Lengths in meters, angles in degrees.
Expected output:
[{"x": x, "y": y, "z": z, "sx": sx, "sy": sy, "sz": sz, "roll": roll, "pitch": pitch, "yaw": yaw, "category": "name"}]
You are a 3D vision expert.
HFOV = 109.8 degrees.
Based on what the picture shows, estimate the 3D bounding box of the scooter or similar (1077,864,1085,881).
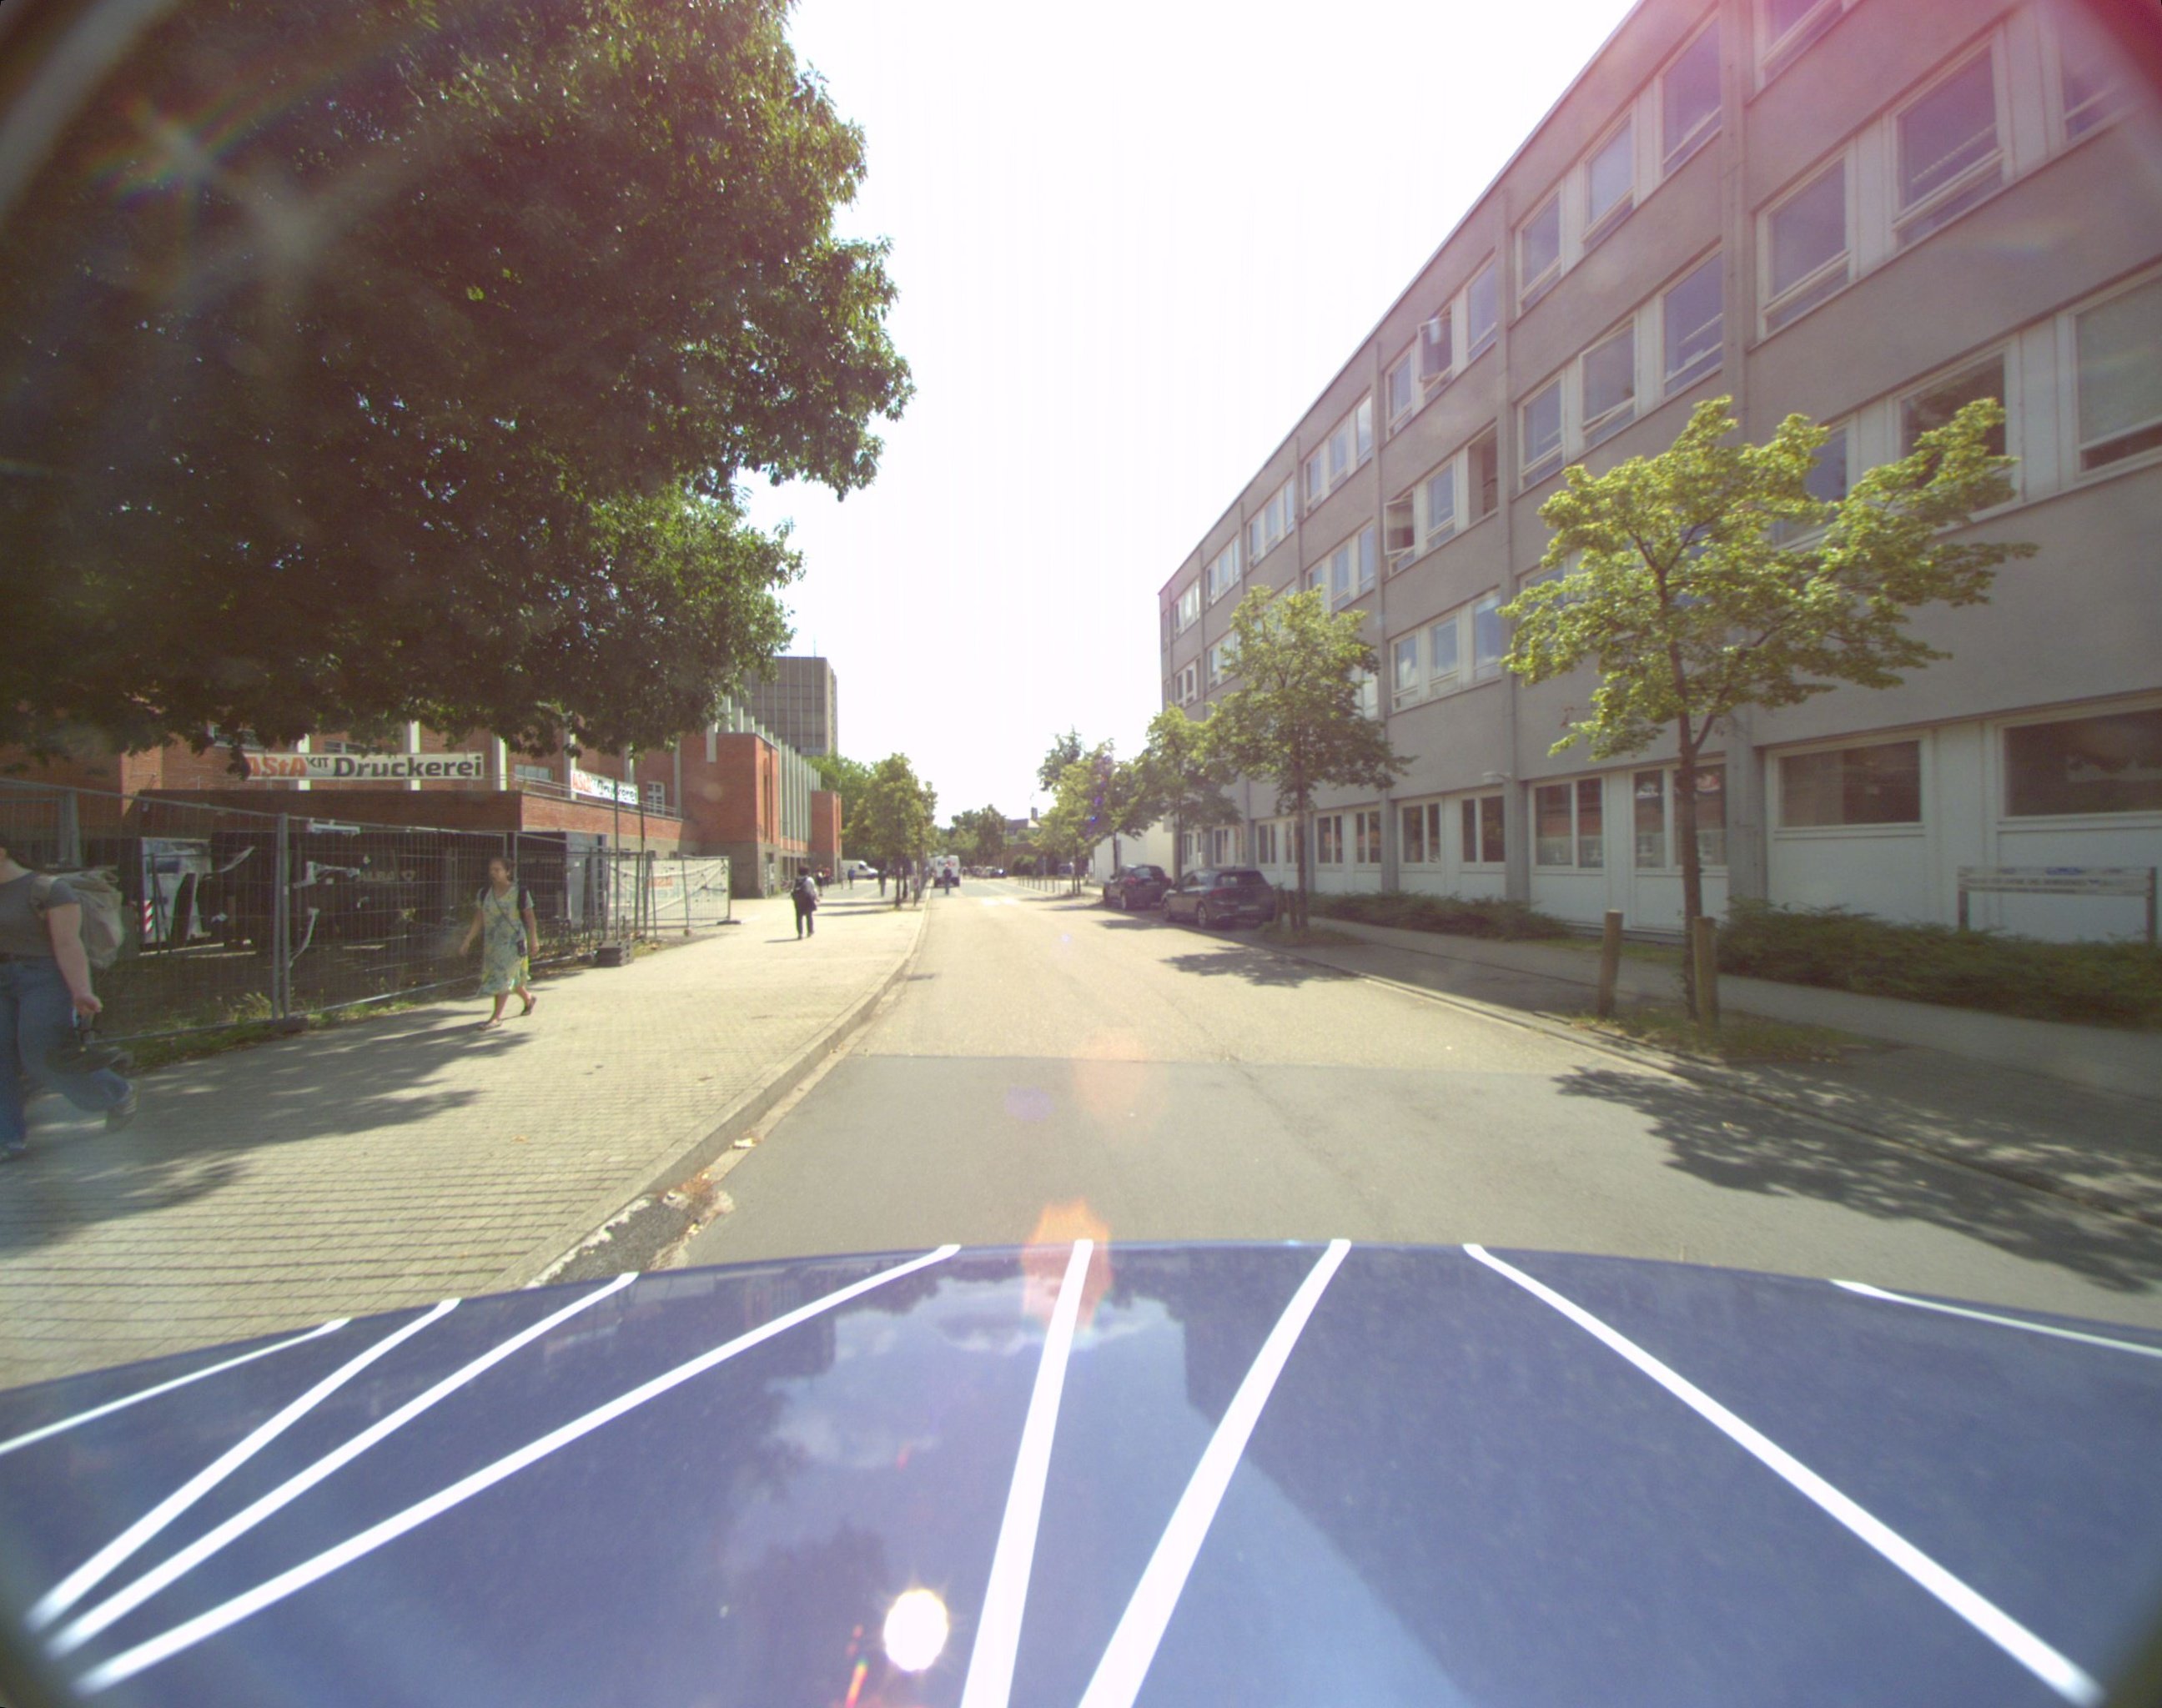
[{"x": 0.004, "y": 1.443, "z": 59.182, "sx": 0.483, "sy": 1.255, "sz": 1.313, "roll": -1, "pitch": 0, "yaw": 2, "category": "scooter or similar"}]

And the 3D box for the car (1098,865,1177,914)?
[{"x": 1.932, "y": 1.210, "z": 27.166, "sx": 1.703, "sy": 1.555, "sz": 4.064, "roll": -1, "pitch": 0, "yaw": -12, "category": "car"}]

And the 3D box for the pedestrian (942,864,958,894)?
[{"x": -7.905, "y": 1.496, "z": 45.804, "sx": 0.826, "sy": 1.807, "sz": 1.143, "roll": -1, "pitch": 0, "yaw": -16, "category": "pedestrian"}]

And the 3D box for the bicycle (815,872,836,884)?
[{"x": -23.284, "y": 2.189, "z": 69.275, "sx": 1.700, "sy": 1.103, "sz": 0.435, "roll": -1, "pitch": 0, "yaw": -12, "category": "bicycle"}]

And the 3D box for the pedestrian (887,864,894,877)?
[{"x": -26.399, "y": 2.287, "z": 105.359, "sx": 0.786, "sy": 1.666, "sz": 1.077, "roll": -1, "pitch": 1, "yaw": -19, "category": "pedestrian"}]

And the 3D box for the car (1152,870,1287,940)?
[{"x": 3.333, "y": 1.185, "z": 19.163, "sx": 1.784, "sy": 1.452, "sz": 4.255, "roll": -3, "pitch": 0, "yaw": -12, "category": "car"}]

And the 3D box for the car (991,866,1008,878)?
[{"x": -10.052, "y": 2.201, "z": 93.472, "sx": 1.702, "sy": 1.287, "sz": 3.759, "roll": -1, "pitch": -1, "yaw": -10, "category": "car"}]

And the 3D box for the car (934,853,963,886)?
[{"x": -11.105, "y": 1.263, "z": 63.381, "sx": 2.066, "sy": 2.528, "sz": 5.843, "roll": -1, "pitch": -1, "yaw": -13, "category": "car"}]

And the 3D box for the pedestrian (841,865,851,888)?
[{"x": -17.945, "y": 1.697, "z": 58.059, "sx": 0.587, "sy": 1.697, "sz": 1.001, "roll": -1, "pitch": 1, "yaw": -11, "category": "pedestrian"}]

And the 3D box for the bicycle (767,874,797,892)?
[{"x": -19.917, "y": 1.950, "z": 50.632, "sx": 1.759, "sy": 1.143, "sz": 0.517, "roll": -1, "pitch": 0, "yaw": -12, "category": "bicycle"}]

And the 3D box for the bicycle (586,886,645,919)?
[{"x": -16.408, "y": 1.693, "z": 26.801, "sx": 1.707, "sy": 1.103, "sz": 0.447, "roll": -1, "pitch": 0, "yaw": -10, "category": "bicycle"}]

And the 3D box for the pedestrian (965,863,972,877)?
[{"x": -14.206, "y": 2.009, "z": 95.834, "sx": 0.558, "sy": 1.706, "sz": 0.971, "roll": -1, "pitch": 0, "yaw": -23, "category": "pedestrian"}]

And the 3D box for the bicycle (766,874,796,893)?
[{"x": -19.644, "y": 1.935, "z": 49.742, "sx": 1.759, "sy": 1.143, "sz": 0.435, "roll": -1, "pitch": 0, "yaw": -12, "category": "bicycle"}]

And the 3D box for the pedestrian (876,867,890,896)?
[{"x": -11.445, "y": 1.582, "z": 43.964, "sx": 0.643, "sy": 1.687, "sz": 0.792, "roll": -1, "pitch": 0, "yaw": -7, "category": "pedestrian"}]

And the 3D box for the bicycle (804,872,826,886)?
[{"x": -22.252, "y": 2.119, "z": 63.560, "sx": 1.688, "sy": 1.103, "sz": 0.435, "roll": -1, "pitch": 0, "yaw": -12, "category": "bicycle"}]

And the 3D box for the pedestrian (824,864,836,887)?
[{"x": -20.067, "y": 1.697, "z": 60.744, "sx": 0.665, "sy": 1.823, "sz": 0.906, "roll": -1, "pitch": 0, "yaw": -2, "category": "pedestrian"}]

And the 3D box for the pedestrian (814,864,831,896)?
[{"x": -14.940, "y": 1.498, "z": 43.948, "sx": 0.847, "sy": 1.823, "sz": 1.196, "roll": -1, "pitch": 0, "yaw": -16, "category": "pedestrian"}]

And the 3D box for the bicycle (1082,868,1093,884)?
[{"x": 0.420, "y": 1.517, "z": 52.185, "sx": 0.545, "sy": 1.055, "sz": 1.898, "roll": -1, "pitch": 0, "yaw": -6, "category": "bicycle"}]

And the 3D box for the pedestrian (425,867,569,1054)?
[{"x": -5.538, "y": 0.958, "z": 7.261, "sx": 0.651, "sy": 1.656, "sz": 0.904, "roll": -1, "pitch": 0, "yaw": -1, "category": "pedestrian"}]

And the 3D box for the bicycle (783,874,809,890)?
[{"x": -20.431, "y": 2.006, "z": 54.508, "sx": 1.688, "sy": 1.103, "sz": 0.435, "roll": -1, "pitch": 0, "yaw": -12, "category": "bicycle"}]

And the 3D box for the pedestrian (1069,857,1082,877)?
[{"x": -0.514, "y": 1.192, "z": 71.185, "sx": 1.023, "sy": 1.837, "sz": 0.917, "roll": 0, "pitch": 0, "yaw": 20, "category": "pedestrian"}]

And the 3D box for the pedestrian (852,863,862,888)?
[{"x": -17.124, "y": 1.609, "z": 58.018, "sx": 0.666, "sy": 1.879, "sz": 1.108, "roll": -1, "pitch": 1, "yaw": -14, "category": "pedestrian"}]

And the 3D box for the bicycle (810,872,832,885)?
[{"x": -22.930, "y": 2.142, "z": 66.979, "sx": 1.803, "sy": 1.103, "sz": 0.435, "roll": -1, "pitch": 0, "yaw": -12, "category": "bicycle"}]

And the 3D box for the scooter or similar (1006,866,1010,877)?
[{"x": -8.621, "y": 2.082, "z": 89.668, "sx": 0.471, "sy": 1.209, "sz": 1.204, "roll": -1, "pitch": 0, "yaw": -6, "category": "scooter or similar"}]

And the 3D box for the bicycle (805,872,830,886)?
[{"x": -22.618, "y": 2.132, "z": 65.194, "sx": 1.918, "sy": 1.103, "sz": 0.435, "roll": -1, "pitch": 0, "yaw": -12, "category": "bicycle"}]

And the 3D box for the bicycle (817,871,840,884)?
[{"x": -23.626, "y": 2.201, "z": 71.047, "sx": 1.937, "sy": 1.103, "sz": 0.456, "roll": -1, "pitch": 0, "yaw": -12, "category": "bicycle"}]

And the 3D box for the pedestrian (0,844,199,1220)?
[{"x": -5.371, "y": 0.839, "z": 3.883, "sx": 0.852, "sy": 1.753, "sz": 0.715, "roll": -1, "pitch": 0, "yaw": -3, "category": "pedestrian"}]

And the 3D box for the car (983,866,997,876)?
[{"x": -12.643, "y": 2.316, "z": 105.477, "sx": 1.649, "sy": 1.368, "sz": 3.997, "roll": -1, "pitch": 0, "yaw": -10, "category": "car"}]

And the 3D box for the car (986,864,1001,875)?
[{"x": -11.529, "y": 2.009, "z": 99.842, "sx": 1.636, "sy": 1.422, "sz": 3.630, "roll": -1, "pitch": 0, "yaw": -11, "category": "car"}]

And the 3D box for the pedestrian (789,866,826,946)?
[{"x": -6.283, "y": 1.173, "z": 17.487, "sx": 0.697, "sy": 1.770, "sz": 0.786, "roll": -1, "pitch": 0, "yaw": -13, "category": "pedestrian"}]

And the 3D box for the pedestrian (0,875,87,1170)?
[{"x": -6.190, "y": 0.918, "z": 3.974, "sx": 0.670, "sy": 1.590, "sz": 0.985, "roll": -1, "pitch": 0, "yaw": -3, "category": "pedestrian"}]

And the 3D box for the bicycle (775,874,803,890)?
[{"x": -20.367, "y": 1.954, "z": 53.029, "sx": 1.753, "sy": 1.103, "sz": 0.435, "roll": -1, "pitch": 0, "yaw": -12, "category": "bicycle"}]
